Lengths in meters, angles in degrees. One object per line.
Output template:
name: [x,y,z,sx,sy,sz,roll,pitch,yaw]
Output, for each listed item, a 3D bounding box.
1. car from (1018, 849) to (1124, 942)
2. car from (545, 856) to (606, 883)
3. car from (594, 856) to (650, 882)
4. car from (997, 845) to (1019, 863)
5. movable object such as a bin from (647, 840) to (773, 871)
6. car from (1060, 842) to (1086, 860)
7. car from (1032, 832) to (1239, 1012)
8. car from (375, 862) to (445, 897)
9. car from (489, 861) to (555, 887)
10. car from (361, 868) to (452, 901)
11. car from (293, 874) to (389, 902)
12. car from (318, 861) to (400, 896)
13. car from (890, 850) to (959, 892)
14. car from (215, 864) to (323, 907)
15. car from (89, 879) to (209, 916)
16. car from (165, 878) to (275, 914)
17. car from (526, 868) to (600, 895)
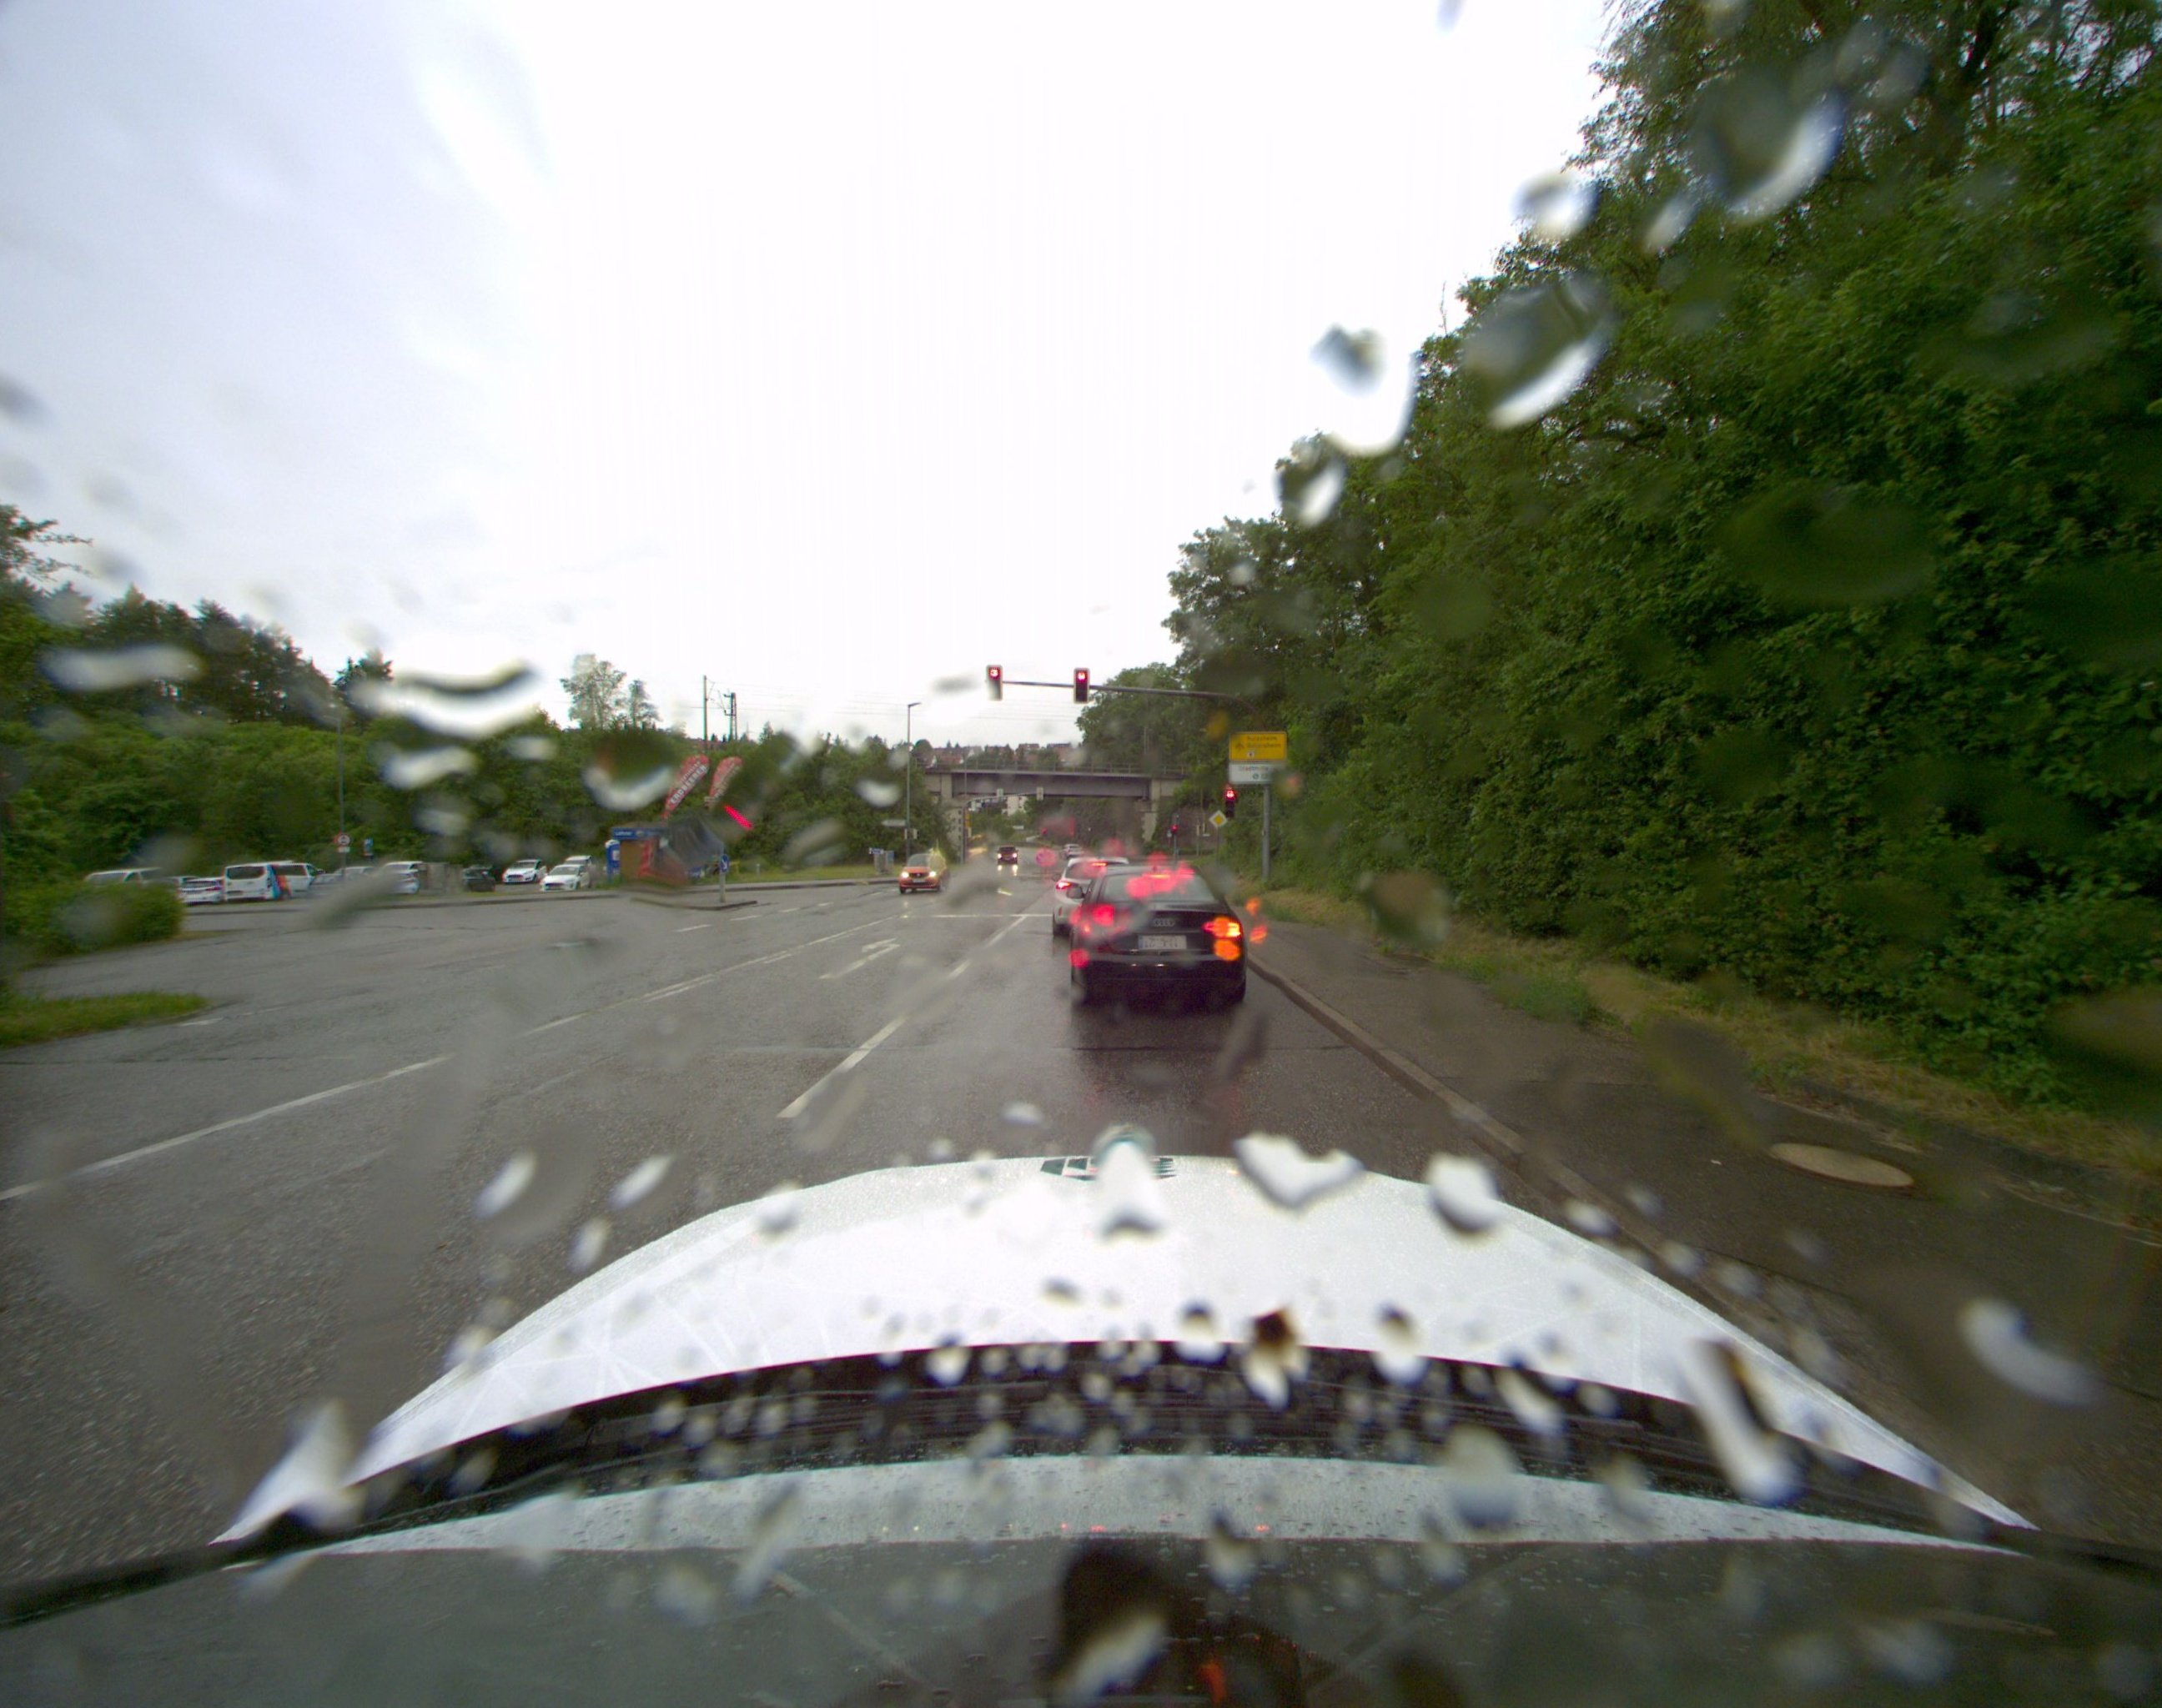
car: [-0.111,0.744,16.103,1.816,1.585,4.001,-1,-1,2]
car: [-32.571,0.990,52.586,1.994,1.585,3.985,-2,0,-11]
car: [-30.335,0.976,53.989,1.994,1.585,3.985,-2,0,-11]
car: [-6.940,-0.031,77.112,1.990,1.628,3.993,-2,0,-5]
movable object such as a bin: [-20.823,0.104,45.912,2.716,1.628,5.816,-2,-1,41]
car: [-0.870,-0.331,84.516,1.807,1.742,4.459,-1,-1,-14]
car: [0.555,0.649,9.432,1.863,1.616,4.001,-1,-1,2]
car: [-42.126,1.549,51.244,1.941,2.013,3.849,-1,0,-15]
car: [-35.399,1.267,51.687,1.994,1.585,3.984,-1,-1,-11]
car: [-34.571,1.518,41.889,1.937,1.585,3.892,-1,-1,-11]
car: [-37.121,1.682,40.989,1.751,1.310,3.984,-1,-1,-11]
car: [-44.726,1.493,50.567,1.995,2.013,3.983,-2,0,-12]
car: [-6.465,0.696,34.004,1.986,1.585,4.001,-1,-1,2]
car: [-39.400,1.490,39.645,1.997,1.949,3.978,-1,-1,-16]
car: [-44.319,2.026,38.862,1.837,1.585,3.978,-1,-1,-16]
car: [-41.685,1.975,39.569,1.858,1.585,3.978,-1,-1,-16]
car: [-27.788,1.439,43.887,1.652,1.340,4.883,-1,-1,-11]
